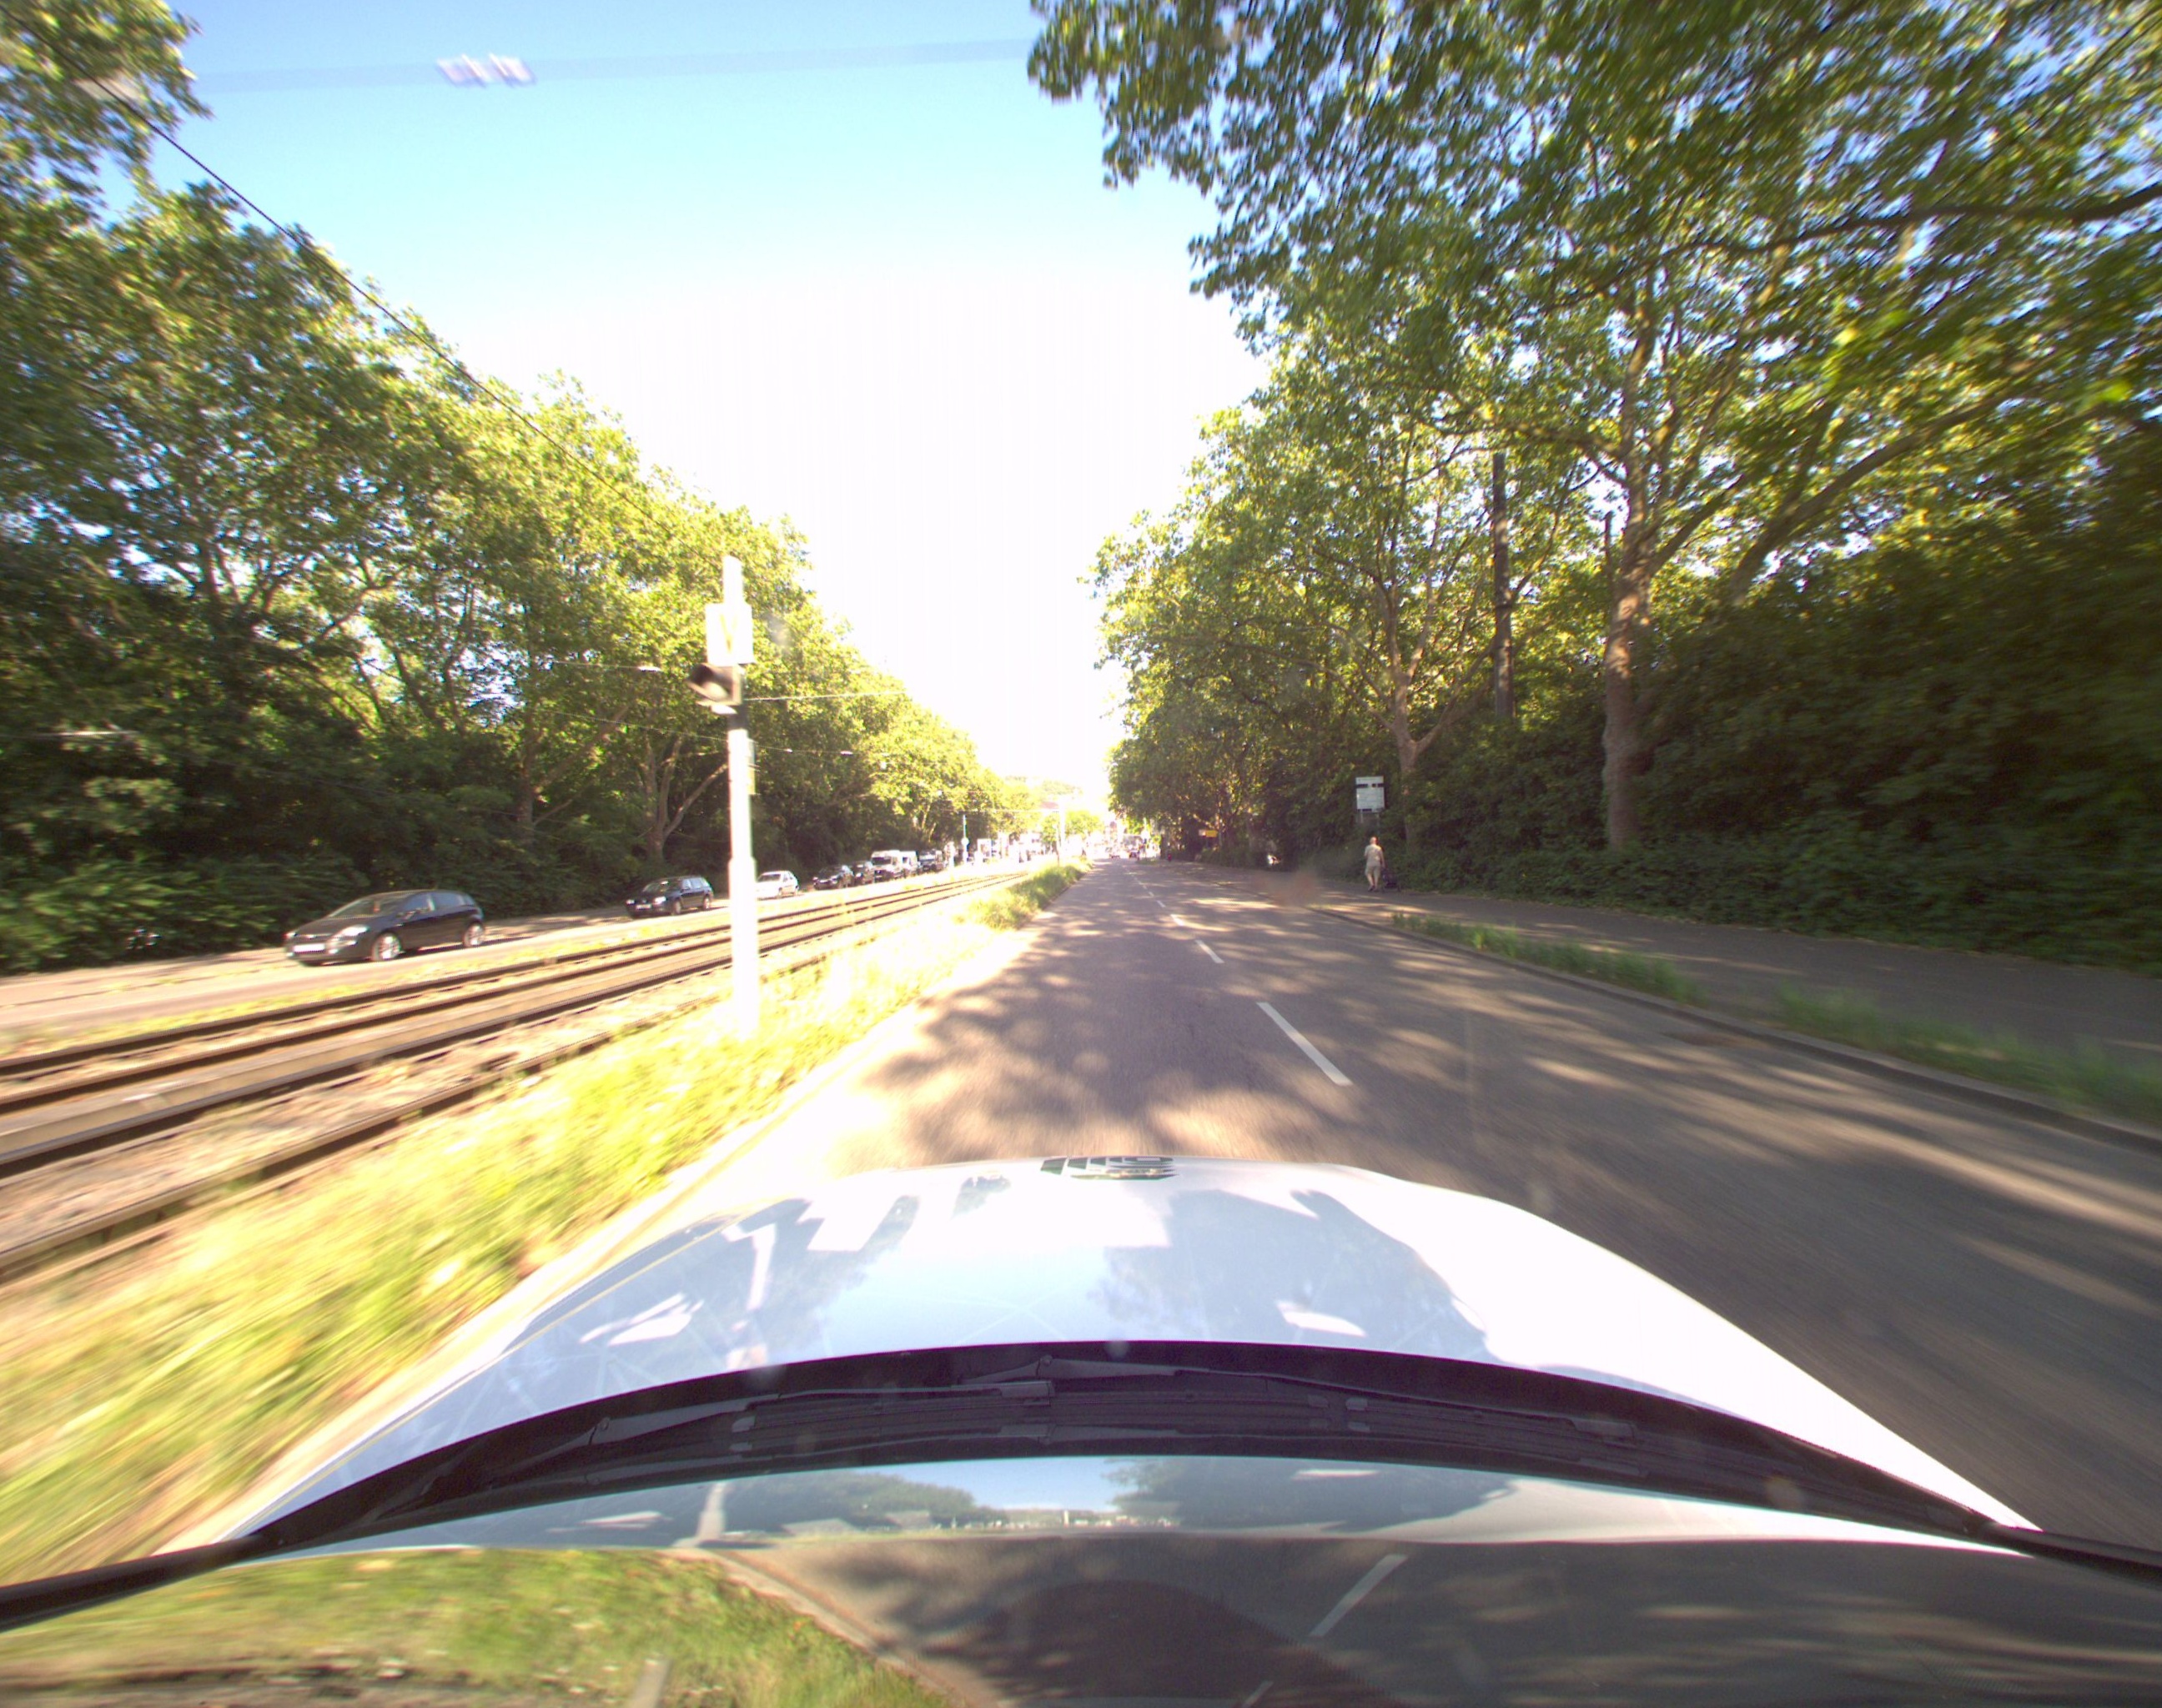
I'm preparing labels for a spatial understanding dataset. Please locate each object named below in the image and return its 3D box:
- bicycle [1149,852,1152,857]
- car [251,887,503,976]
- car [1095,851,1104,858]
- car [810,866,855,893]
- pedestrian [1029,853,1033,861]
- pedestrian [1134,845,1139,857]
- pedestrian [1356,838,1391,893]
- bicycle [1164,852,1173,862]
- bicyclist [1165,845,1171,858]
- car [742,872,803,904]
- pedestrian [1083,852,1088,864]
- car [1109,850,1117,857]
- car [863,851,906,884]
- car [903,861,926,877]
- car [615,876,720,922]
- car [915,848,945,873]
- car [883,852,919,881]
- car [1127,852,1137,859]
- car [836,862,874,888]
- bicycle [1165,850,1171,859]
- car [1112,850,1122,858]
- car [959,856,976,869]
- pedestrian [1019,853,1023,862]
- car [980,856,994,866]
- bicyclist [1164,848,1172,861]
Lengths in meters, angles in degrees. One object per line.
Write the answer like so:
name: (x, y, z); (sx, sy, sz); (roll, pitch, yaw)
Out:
bicycle: (16.106, 0.047, 188.145); (0.497, 1.075, 1.800); (-1, -1, 1)
car: (-15.503, 1.626, 18.331); (1.822, 1.505, 4.392); (-4, 0, -1)
car: (4.266, 0.045, 186.981); (1.802, 1.452, 3.999); (-1, 0, 0)
car: (-16.387, 1.639, 53.821); (1.734, 1.555, 3.880); (-4, 0, -1)
pedestrian: (-9.220, 0.580, 150.206); (0.668, 1.324, 0.756); (-5, 0, -1)
pedestrian: (8.705, -0.401, 128.200); (0.655, 1.871, 0.677); (-2, 0, 0)
pedestrian: (8.986, 0.341, 25.077); (0.645, 1.635, 0.928); (-4, 0, 2)
bicycle: (10.145, 0.344, 94.618); (0.763, 1.107, 1.800); (-2, 0, 0)
bicyclist: (11.876, -0.301, 111.307); (0.697, 1.728, 1.079); (-2, 0, -1)
car: (-16.146, 1.728, 42.790); (1.734, 1.436, 3.850); (-4, 0, -1)
pedestrian: (0.576, 0.469, 104.280); (0.587, 1.519, 0.514); (-4, 0, 1)
car: (7.286, -0.113, 185.126); (1.794, 1.638, 4.044); (-1, 0, 0)
car: (-16.462, 1.128, 68.549); (2.177, 2.520, 6.047); (-4, 0, -1)
car: (-16.953, 1.484, 83.085); (1.648, 1.512, 3.263); (-4, 0, -2)
car: (-15.851, 1.678, 31.486); (1.822, 1.436, 4.321); (-4, 0, -1)
car: (-16.911, 0.709, 91.484); (2.177, 2.520, 6.029); (-4, 0, -1)
car: (-16.827, 1.142, 76.452); (2.178, 2.520, 6.265); (-4, 0, -3)
car: (10.772, 0.349, 172.835); (1.794, 1.439, 4.045); (0, 0, 0)
car: (-16.639, 1.529, 60.156); (1.734, 1.728, 3.880); (-4, 0, -1)
bicycle: (11.887, 0.086, 111.304); (0.697, 1.107, 1.929); (-2, 0, -1)
car: (7.781, -0.003, 177.857); (1.923, 1.472, 4.855); (-1, 0, 1)
car: (-15.926, 1.172, 114.522); (1.898, 1.652, 3.969); (-4, 0, -3)
pedestrian: (-9.776, 0.538, 133.681); (0.590, 1.544, 0.627); (-1, -1, 1)
car: (-15.585, 1.136, 135.261); (1.789, 1.510, 4.339); (-4, 0, -1)
bicyclist: (10.133, 0.056, 94.622); (0.763, 1.513, 0.650); (-2, 0, 0)
